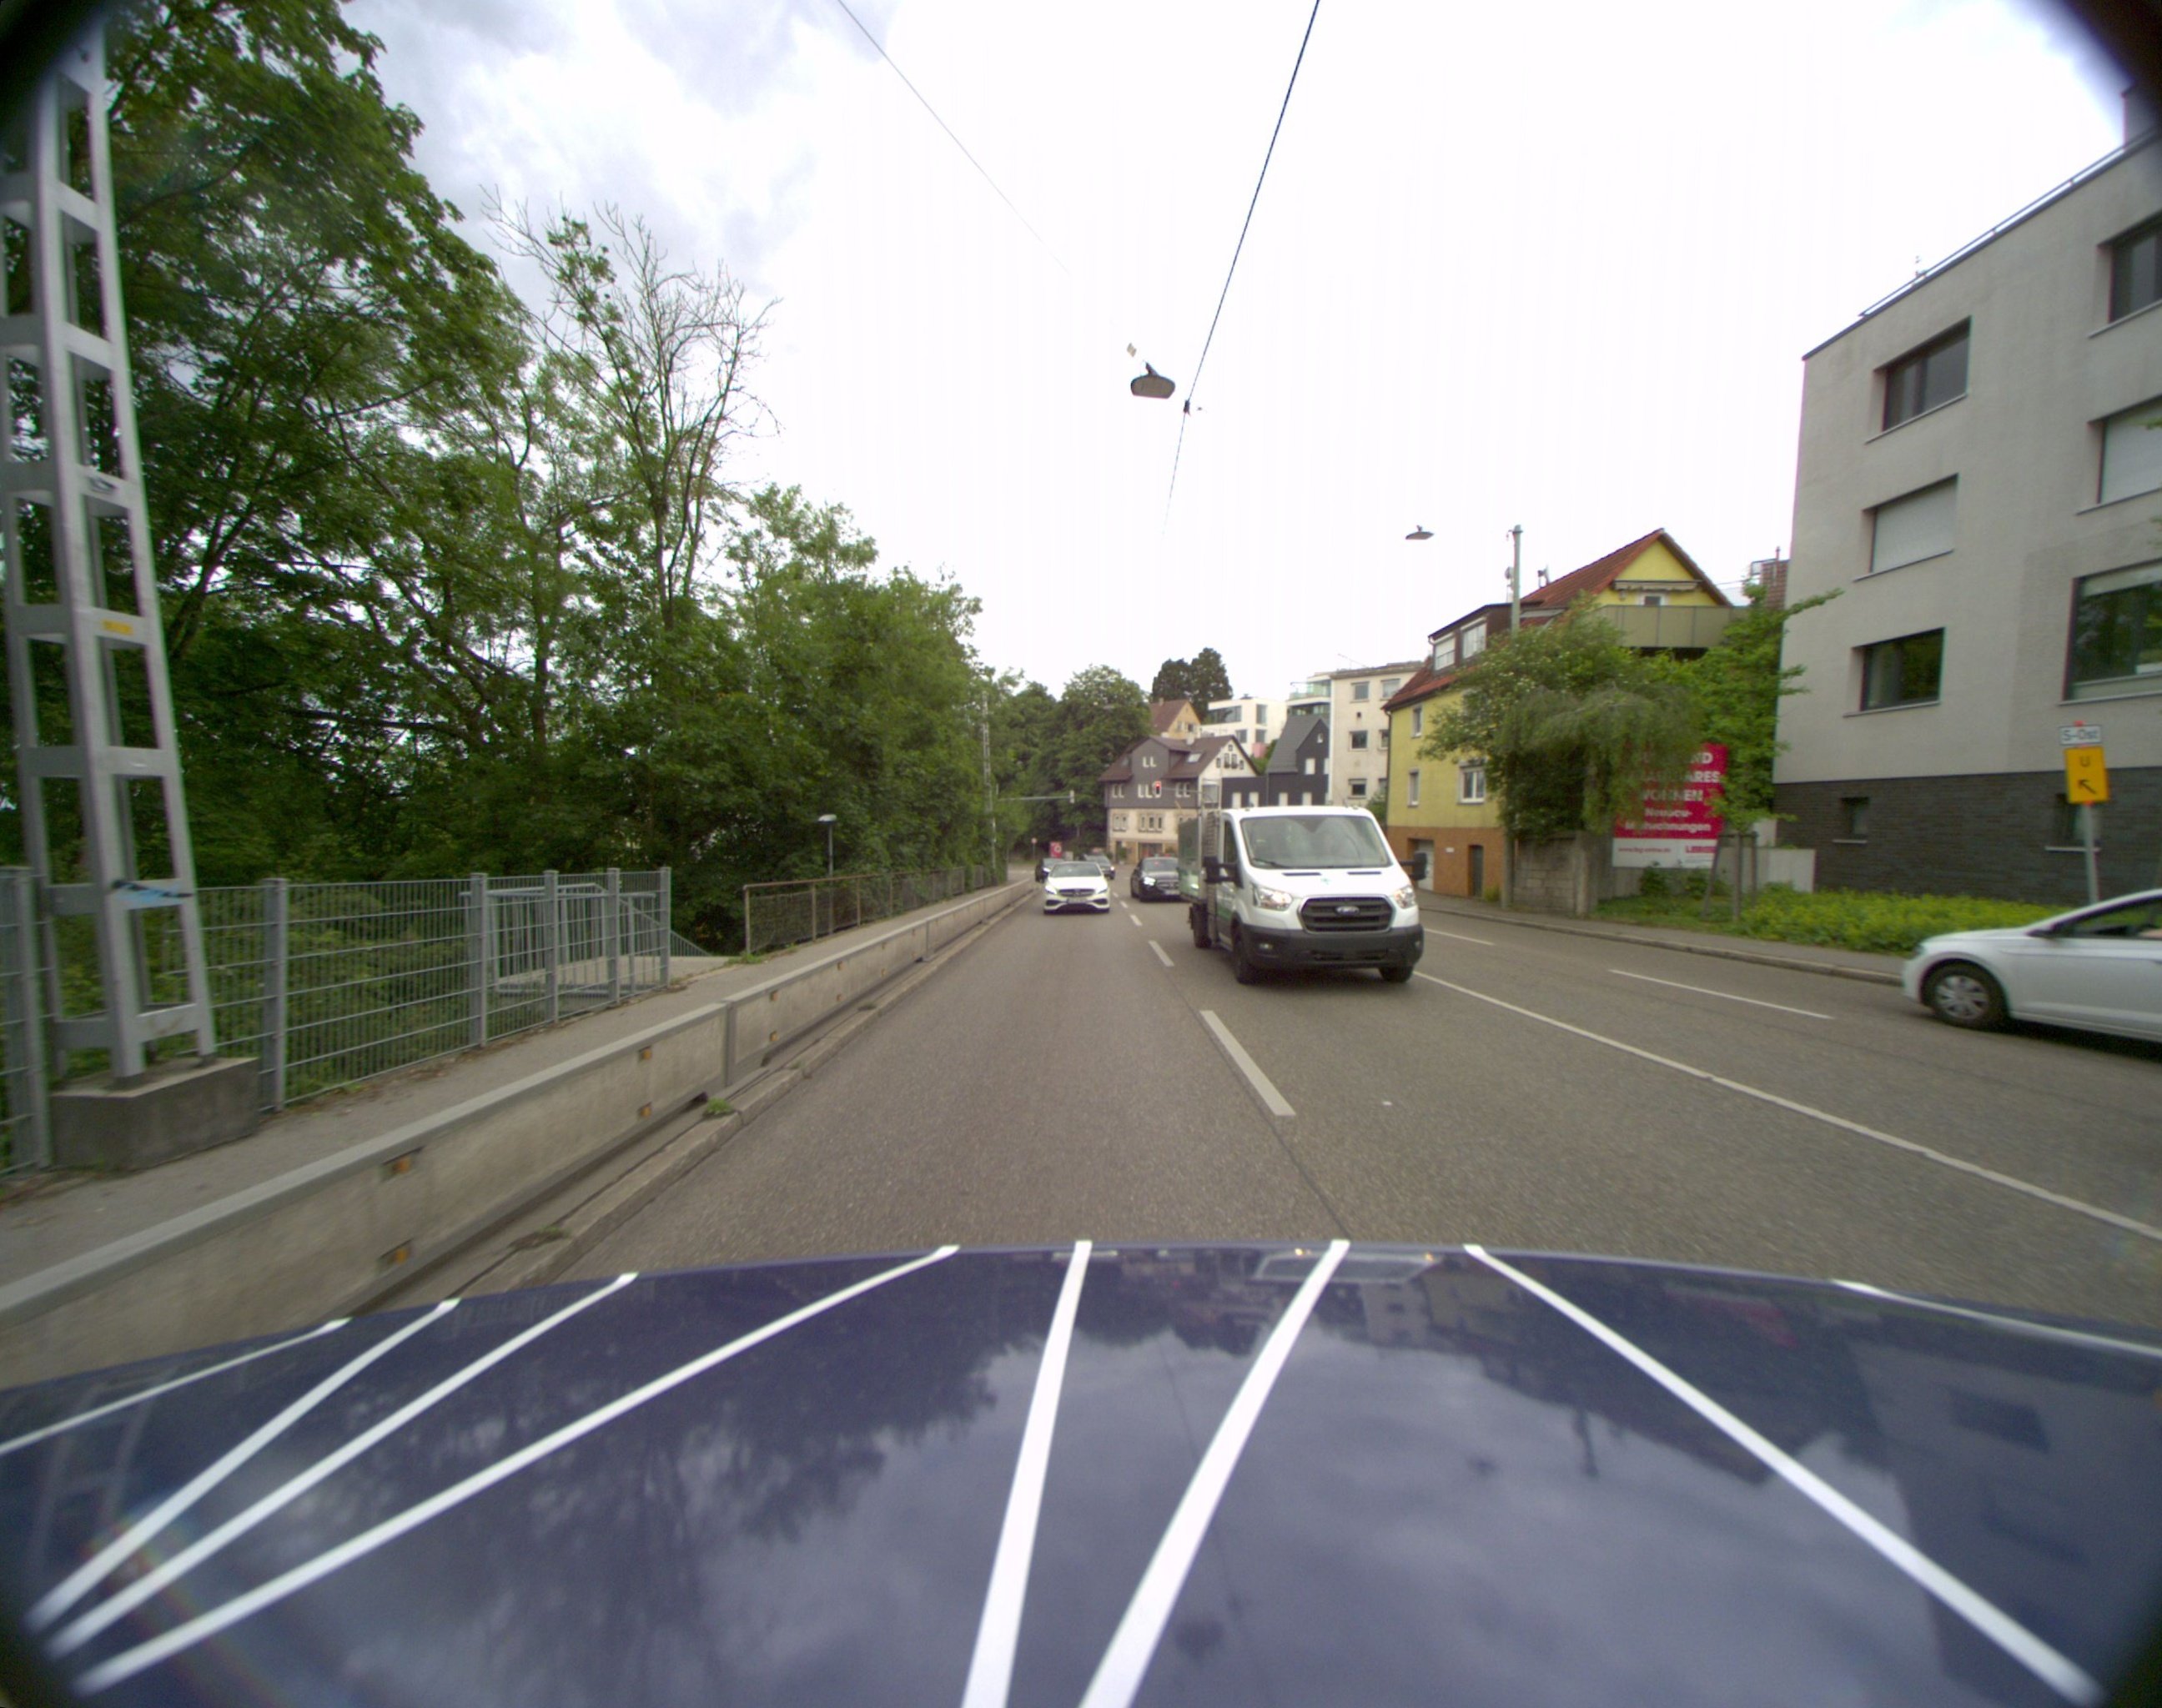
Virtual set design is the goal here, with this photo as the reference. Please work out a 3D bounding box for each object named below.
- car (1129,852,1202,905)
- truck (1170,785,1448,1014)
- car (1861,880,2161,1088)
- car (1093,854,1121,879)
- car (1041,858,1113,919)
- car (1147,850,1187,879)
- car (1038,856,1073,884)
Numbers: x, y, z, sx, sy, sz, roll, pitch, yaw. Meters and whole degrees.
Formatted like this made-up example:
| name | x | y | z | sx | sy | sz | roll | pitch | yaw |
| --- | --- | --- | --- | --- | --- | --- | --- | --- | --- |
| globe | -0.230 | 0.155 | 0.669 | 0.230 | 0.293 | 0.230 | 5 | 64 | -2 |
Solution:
| name | x | y | z | sx | sy | sz | roll | pitch | yaw |
| --- | --- | --- | --- | --- | --- | --- | --- | --- | --- |
| car | 2.797 | 0.766 | 26.073 | 1.916 | 1.472 | 4.398 | -3 | 2 | -1 |
| truck | 2.702 | 0.451 | 10.930 | 2.080 | 2.307 | 6.331 | -1 | 0 | 0 |
| car | 8.875 | 1.014 | 5.682 | 1.778 | 1.455 | 4.191 | 1 | 0 | 0 |
| car | 1.620 | 0.779 | 49.129 | 1.693 | 1.499 | 4.000 | 0 | 0 | 0 |
| car | -0.082 | 0.901 | 21.629 | 1.817 | 1.391 | 3.999 | -2 | 1 | 1 |
| car | 5.414 | 0.653 | 48.241 | 1.901 | 1.685 | 4.346 | -2 | 1 | -2 |
| car | -1.631 | 0.972 | 46.623 | 1.778 | 1.532 | 3.998 | 3 | -1 | -6 |
